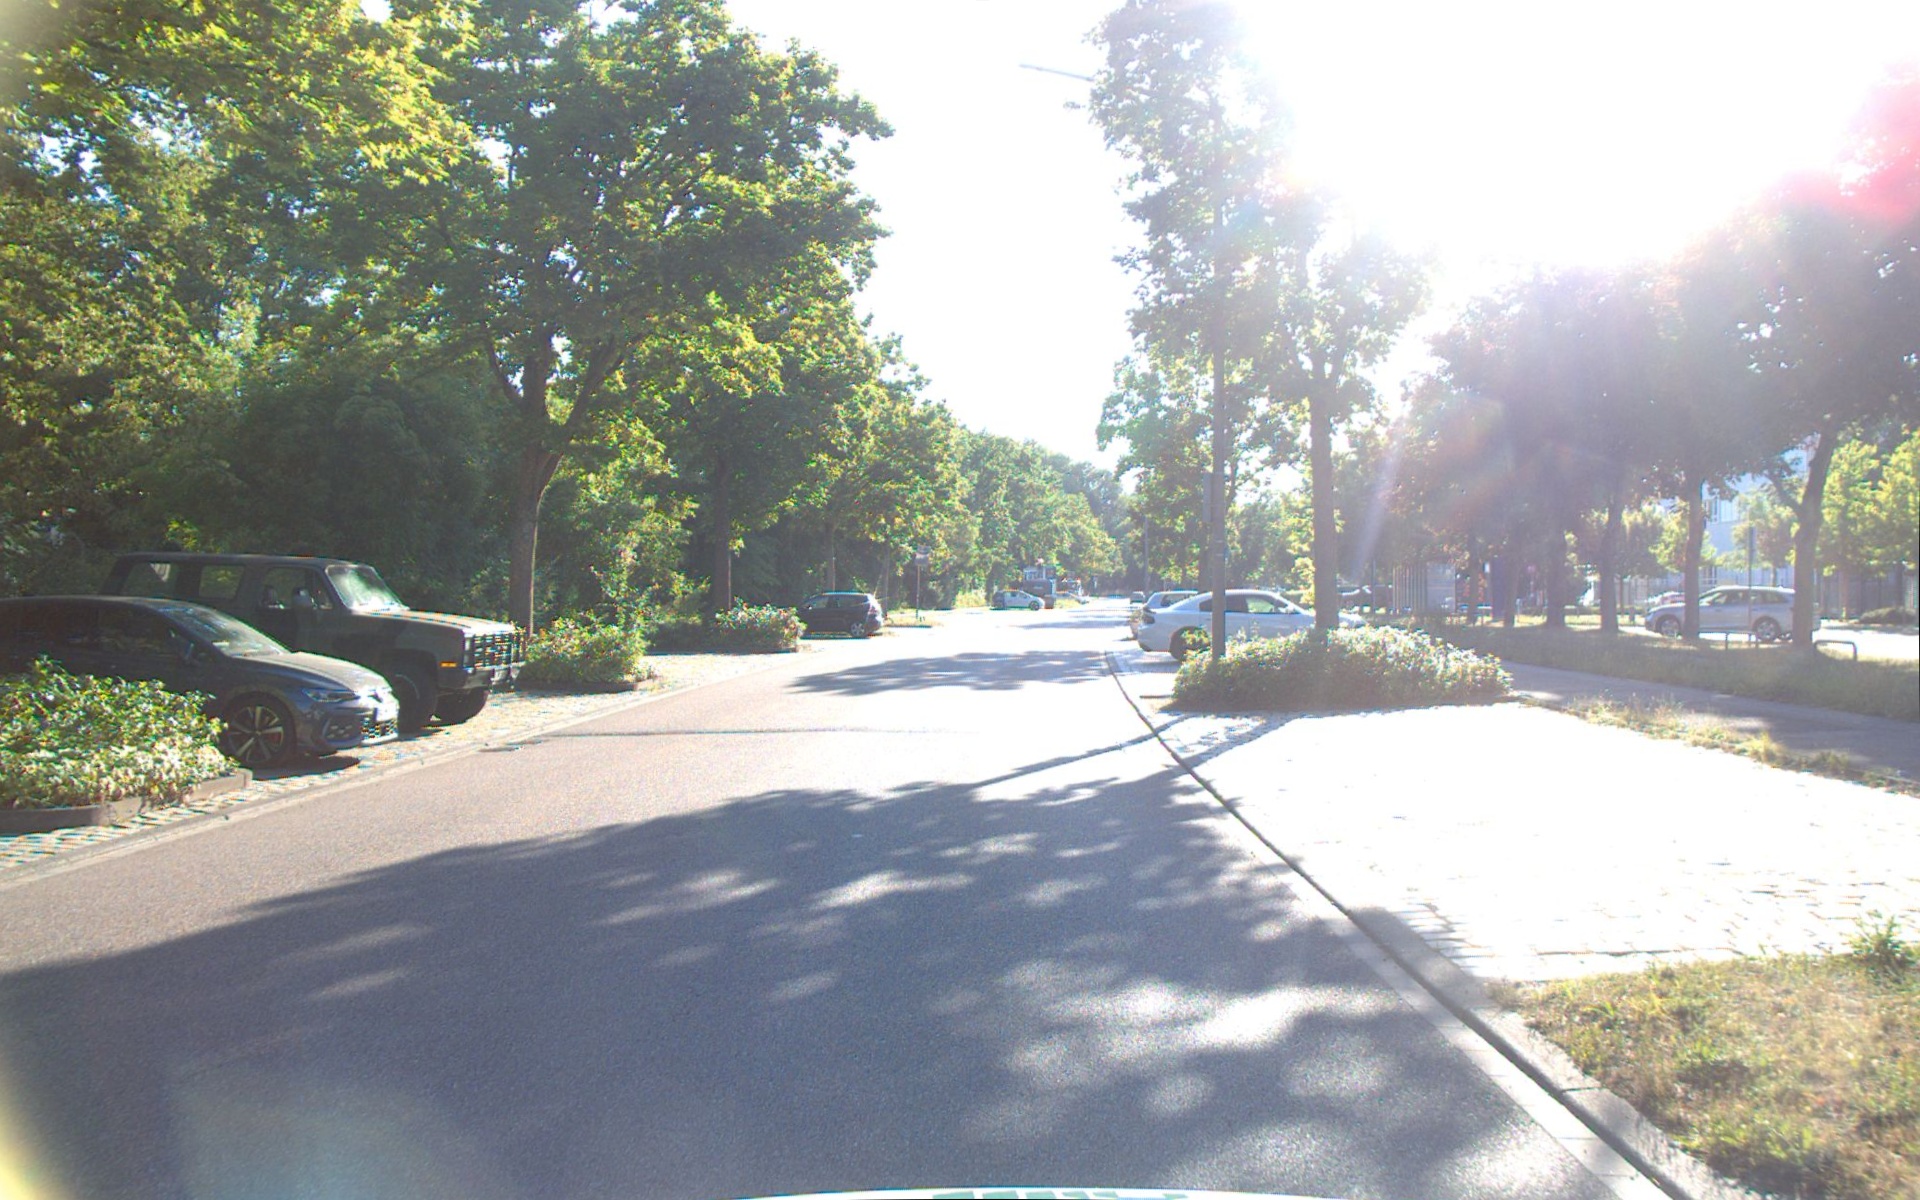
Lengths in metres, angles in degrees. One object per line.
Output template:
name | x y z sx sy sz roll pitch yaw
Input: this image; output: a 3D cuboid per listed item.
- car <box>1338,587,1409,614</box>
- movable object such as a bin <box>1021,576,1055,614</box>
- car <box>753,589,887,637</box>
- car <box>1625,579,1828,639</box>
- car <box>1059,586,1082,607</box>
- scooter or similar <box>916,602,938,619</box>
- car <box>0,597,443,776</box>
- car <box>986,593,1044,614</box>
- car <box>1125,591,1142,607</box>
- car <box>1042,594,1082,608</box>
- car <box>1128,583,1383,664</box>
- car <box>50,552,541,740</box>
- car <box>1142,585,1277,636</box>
car | 27.668 0.054 110.733 4.335 1.735 2.061 -1 0 6
movable object such as a bin | 6.718 -0.437 142.007 2.779 3.122 4.929 -1 0 3
car | -4.740 0.429 56.448 4.267 1.505 2.001 2 0 4
car | 21.693 0.243 46.941 4.870 1.601 1.986 0 0 45
car | 12.734 -0.394 191.248 2.464 2.428 4.373 -1 0 1
scooter or similar | -2.306 0.742 115.431 1.572 1.165 0.568 0 0 -43
car | -7.221 0.772 15.588 4.125 1.557 1.706 -1 0 0
car | 4.318 0.254 129.162 4.265 1.574 2.002 -1 0 8
car | 20.785 -0.152 198.311 1.951 1.937 4.003 -1 0 5
car | 11.200 0.120 182.010 4.268 1.505 2.000 -1 0 1
car | 6.178 0.478 35.070 5.068 1.601 2.158 -1 0 2
car | -7.707 0.510 19.572 4.902 2.055 2.175 -1 0 0
car | 8.367 0.365 55.344 4.266 1.505 2.002 -3 -1 14
